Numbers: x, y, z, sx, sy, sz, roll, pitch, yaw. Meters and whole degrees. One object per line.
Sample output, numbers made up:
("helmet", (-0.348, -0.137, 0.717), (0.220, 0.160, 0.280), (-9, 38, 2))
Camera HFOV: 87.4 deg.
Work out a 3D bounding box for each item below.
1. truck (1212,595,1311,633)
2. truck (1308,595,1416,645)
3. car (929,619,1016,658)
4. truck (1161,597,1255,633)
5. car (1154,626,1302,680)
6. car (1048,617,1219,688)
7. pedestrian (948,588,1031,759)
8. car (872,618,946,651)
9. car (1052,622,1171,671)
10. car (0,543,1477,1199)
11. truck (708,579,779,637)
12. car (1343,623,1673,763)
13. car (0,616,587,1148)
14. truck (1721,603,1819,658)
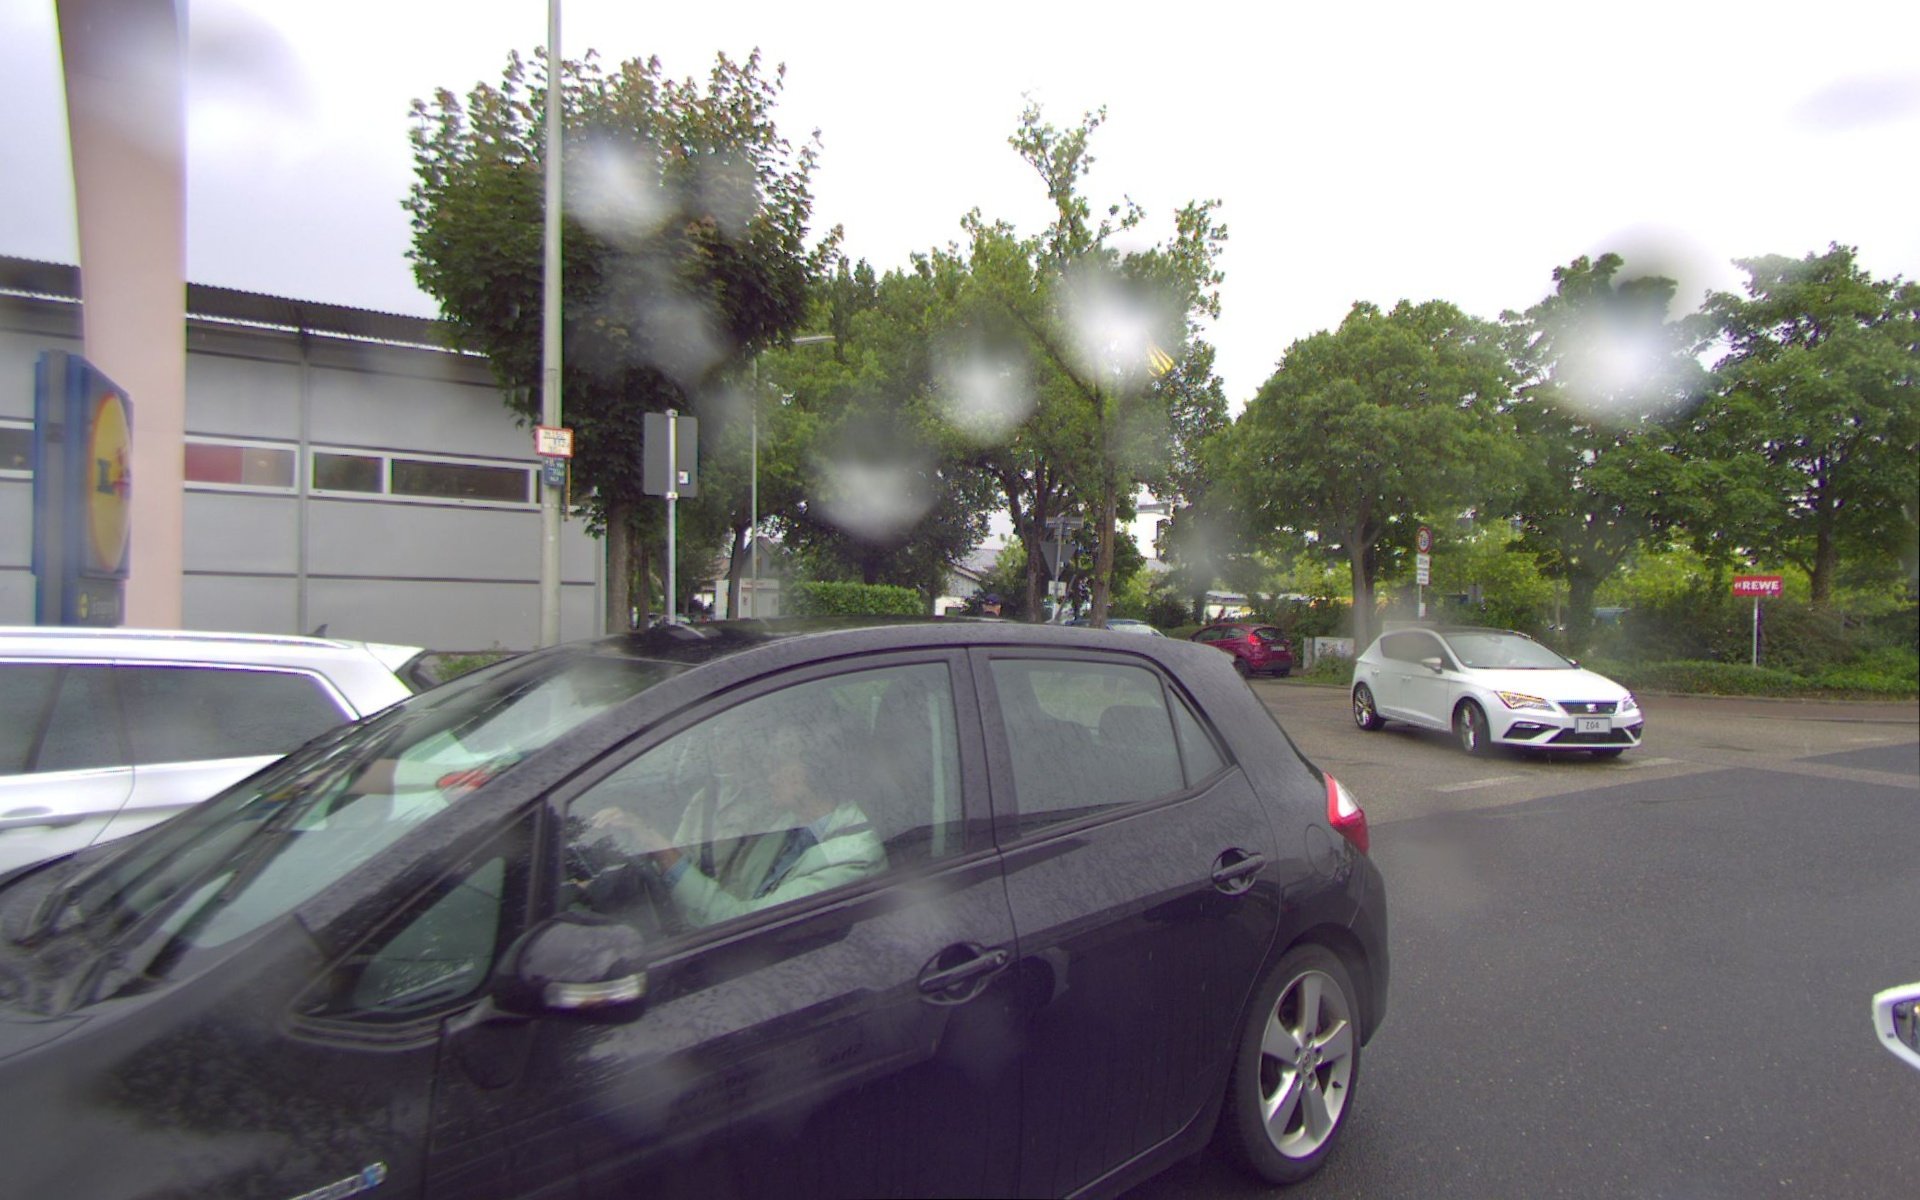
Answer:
("truck", (17.592, 0.843, 58.504), (6.065, 2.122, 1.983), (1, -1, -32))
("truck", (22.425, 1.143, 55.961), (6.316, 2.636, 1.986), (1, -1, -28))
("car", (0.428, 1.494, 39.909), (1.715, 1.460, 3.969), (1, -2, -29))
("truck", (15.331, 0.941, 61.875), (6.066, 2.087, 1.983), (2, -1, -32))
("car", (7.343, 1.420, 27.871), (1.715, 1.381, 3.969), (1, -2, -29))
("car", (3.800, 1.127, 22.694), (1.715, 1.460, 3.969), (1, -2, -29))
("pedestrian", (0.323, 0.740, 10.475), (0.743, 1.696, 0.783), (1, -1, 10))
("car", (-2.314, 1.521, 44.646), (1.715, 1.401, 4.065), (1, -2, -29))
("car", (4.760, 1.456, 32.135), (1.715, 1.460, 3.969), (1, -2, -29))
("car", (-0.446, 0.715, 2.532), (3.967, 1.460, 1.716), (1, -2, -40))
("truck", (-14.129, 0.542, 65.183), (2.572, 3.515, 6.761), (1, -1, -30))
("car", (6.511, 1.023, 12.523), (1.703, 1.460, 3.998), (0, -1, -5))
("car", (-3.680, 0.789, 3.221), (4.437, 1.453, 1.828), (1, -2, -30))
("truck", (42.973, 1.635, 53.228), (6.392, 2.789, 1.984), (2, -1, -31))
